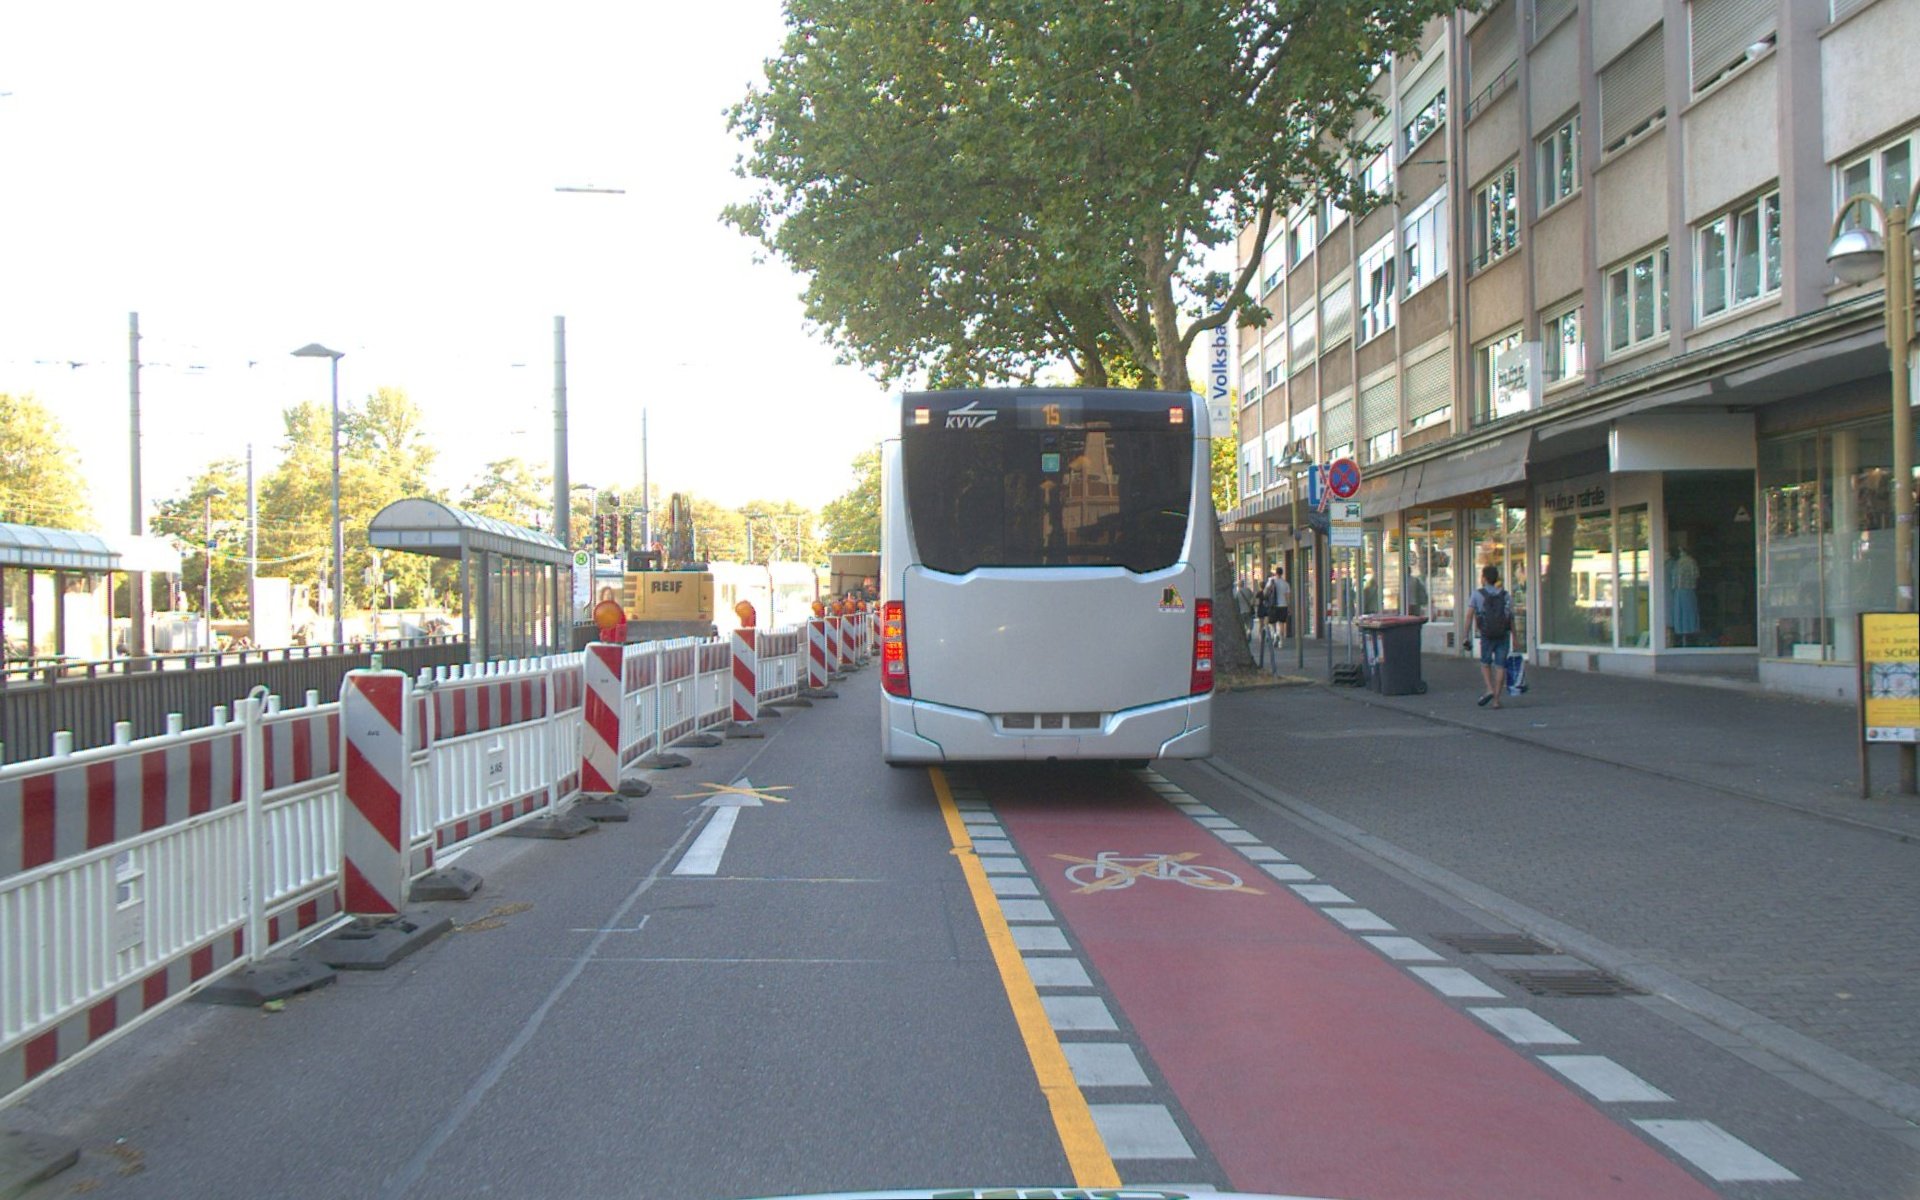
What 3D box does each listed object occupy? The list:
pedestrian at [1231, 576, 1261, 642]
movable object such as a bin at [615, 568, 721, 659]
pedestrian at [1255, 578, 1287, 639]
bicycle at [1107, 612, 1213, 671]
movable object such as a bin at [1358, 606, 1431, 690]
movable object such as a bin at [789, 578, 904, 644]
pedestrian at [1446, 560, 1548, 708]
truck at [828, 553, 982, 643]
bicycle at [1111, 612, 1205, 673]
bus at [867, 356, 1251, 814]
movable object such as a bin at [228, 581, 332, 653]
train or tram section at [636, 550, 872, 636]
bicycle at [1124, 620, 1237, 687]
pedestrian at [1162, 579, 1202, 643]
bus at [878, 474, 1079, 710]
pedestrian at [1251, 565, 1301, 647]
[{"bbox_3d":[7.686,0.242,44.441,0.571,1.738,0.679,-4,0,-2],"label":"pedestrian"},{"bbox_3d":[-7.972,0.343,45.579,2.593,2.358,4.894,0,0,-7],"label":"movable object such as a bin"},{"bbox_3d":[8.361,0.221,44.466,0.620,1.601,0.774,-3,0,-2],"label":"pedestrian"},{"bbox_3d":[3.967,0.819,32.881,1.948,1.077,0.770,-2,-1,-4],"label":"bicycle"},{"bbox_3d":[6.104,0.659,23.275,0.660,1.094,1.228,-1,1,-1],"label":"movable object such as a bin"},{"bbox_3d":[-4.084,0.378,60.722,1.954,2.296,5.204,1,0,25],"label":"movable object such as a bin"},{"bbox_3d":[6.451,0.397,19.919,0.826,1.702,0.990,-2,0,-2],"label":"pedestrian"},{"bbox_3d":[-2.202,-0.099,70.998,2.756,3.603,8.976,-1,0,25],"label":"truck"},{"bbox_3d":[3.763,0.803,31.473,1.678,1.077,0.644,-2,0,0],"label":"bicycle"},{"bbox_3d":[0.516,-0.109,17.119,2.678,3.194,10.698,1,0,-2],"label":"bus"},{"bbox_3d":[-26.701,0.651,65.119,2.107,2.685,4.599,-1,0,0],"label":"movable object such as a bin"},{"bbox_3d":[-9.145,-0.246,76.051,2.799,3.595,13.356,-1,-1,33],"label":"train or tram section"},{"bbox_3d":[3.710,0.895,27.890,1.754,1.040,0.643,-2,0,-4],"label":"bicycle"},{"bbox_3d":[6.236,0.303,46.532,0.881,1.740,1.070,-3,0,-2],"label":"pedestrian"},{"bbox_3d":[0.039,-0.089,26.954,2.654,3.161,8.974,1,0,-3],"label":"bus"},{"bbox_3d":[7.681,0.148,40.229,0.821,1.901,1.099,-5,0,-2],"label":"pedestrian"}]
